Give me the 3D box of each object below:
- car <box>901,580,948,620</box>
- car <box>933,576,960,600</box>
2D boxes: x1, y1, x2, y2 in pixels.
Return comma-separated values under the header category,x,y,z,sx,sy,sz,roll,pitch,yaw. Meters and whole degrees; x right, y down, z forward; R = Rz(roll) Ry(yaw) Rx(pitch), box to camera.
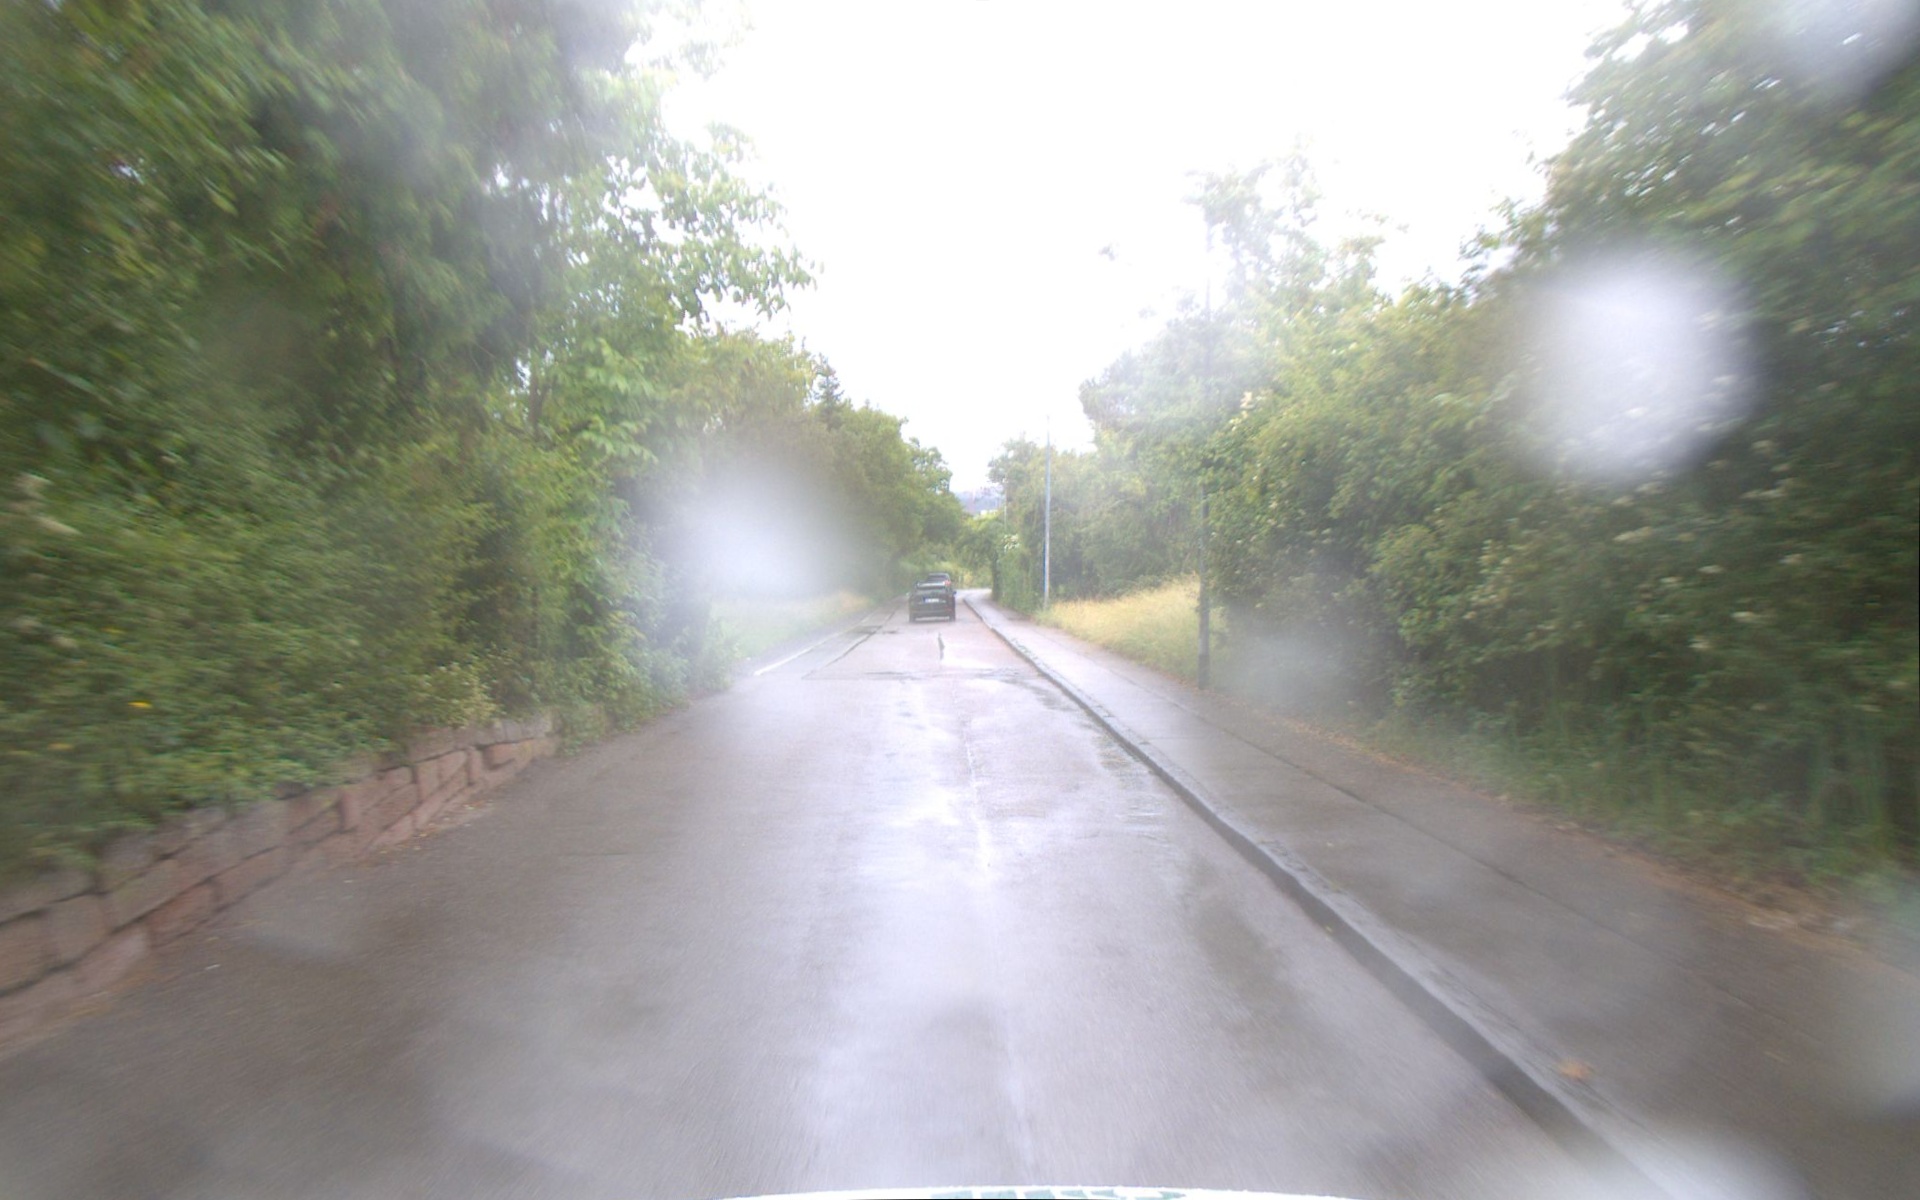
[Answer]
category,x,y,z,sx,sy,sz,roll,pitch,yaw
car,-1.292,0.016,61.832,1.601,1.475,3.545,0,-1,2
car,-0.839,-0.720,103.339,1.601,1.439,3.545,0,-1,1
